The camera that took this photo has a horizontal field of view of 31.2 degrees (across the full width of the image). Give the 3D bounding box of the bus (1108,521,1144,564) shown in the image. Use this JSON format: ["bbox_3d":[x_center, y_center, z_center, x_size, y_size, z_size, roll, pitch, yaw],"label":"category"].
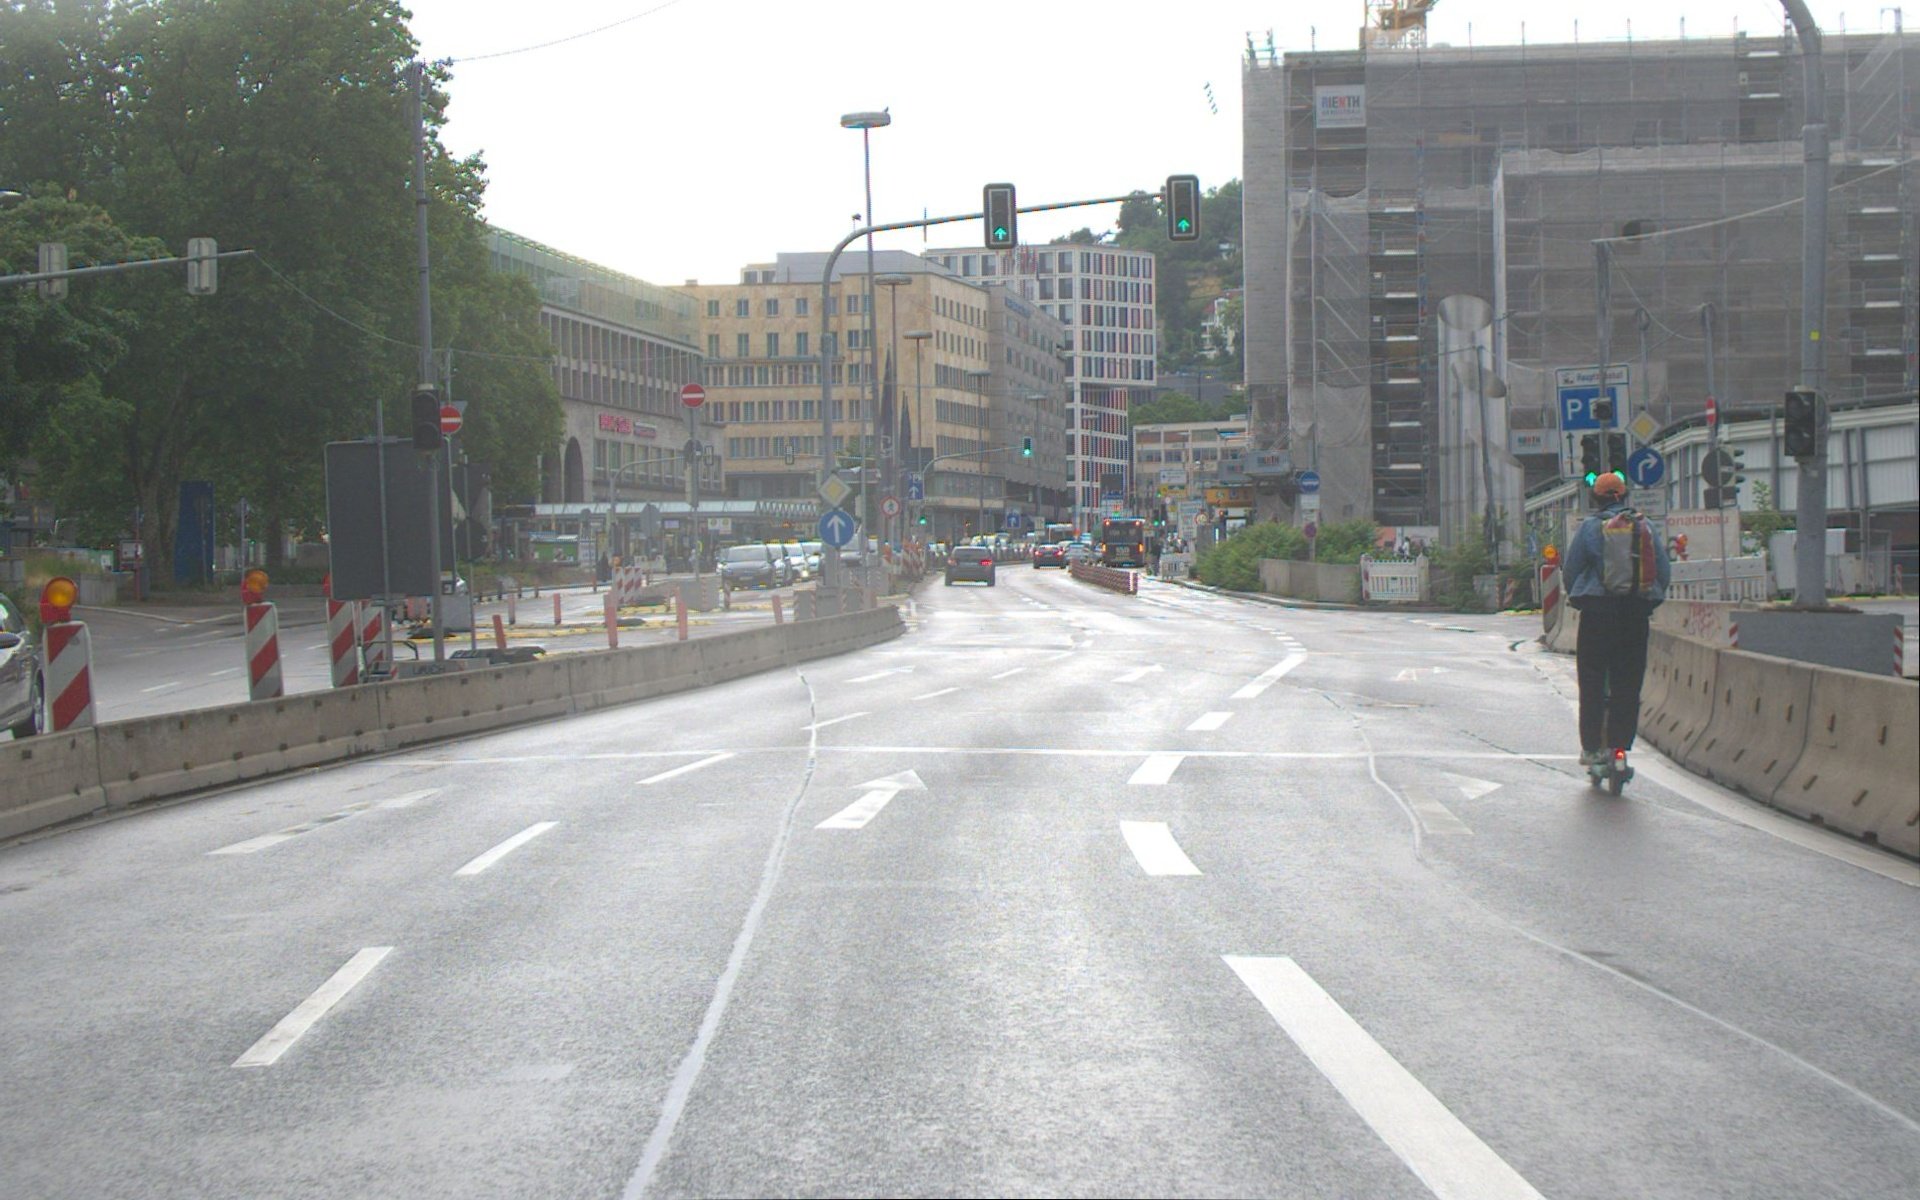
[{"bbox_3d":[10.508,-3.628,217.433,1.994,2.423,3.999,-3,-2,6],"label":"bus"}]

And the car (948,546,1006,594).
[{"bbox_3d":[0.595,-1.064,124.618,1.902,1.523,4.177,-2,-1,-2],"label":"car"}]

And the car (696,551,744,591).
[{"bbox_3d":[-10.664,-1.275,153.087,1.902,1.523,4.177,-2,-1,-2],"label":"car"}]

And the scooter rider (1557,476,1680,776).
[{"bbox_3d":[4.005,0.151,20.942,0.597,1.779,0.997,0,0,3],"label":"scooter rider"}]

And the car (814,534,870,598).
[{"bbox_3d":[-4.277,-1.221,124.776,1.902,2.075,4.177,-2,-2,-2],"label":"car"}]

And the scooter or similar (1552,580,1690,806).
[{"bbox_3d":[4.012,0.541,20.962,0.597,1.314,1.667,0,1,3],"label":"scooter or similar"}]

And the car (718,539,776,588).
[{"bbox_3d":[-7.678,-1.310,124.257,1.902,1.523,4.177,-2,-1,-2],"label":"car"}]

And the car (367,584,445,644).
[{"bbox_3d":[-14.859,0.358,92.393,1.765,1.458,4.178,-3,1,-6],"label":"car"}]

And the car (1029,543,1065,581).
[{"bbox_3d":[5.099,-2.239,201.889,1.993,2.007,3.999,-3,-2,2],"label":"car"}]

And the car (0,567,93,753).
[{"bbox_3d":[-8.999,0.582,29.894,1.993,1.536,4.580,-2,-1,-4],"label":"car"}]
